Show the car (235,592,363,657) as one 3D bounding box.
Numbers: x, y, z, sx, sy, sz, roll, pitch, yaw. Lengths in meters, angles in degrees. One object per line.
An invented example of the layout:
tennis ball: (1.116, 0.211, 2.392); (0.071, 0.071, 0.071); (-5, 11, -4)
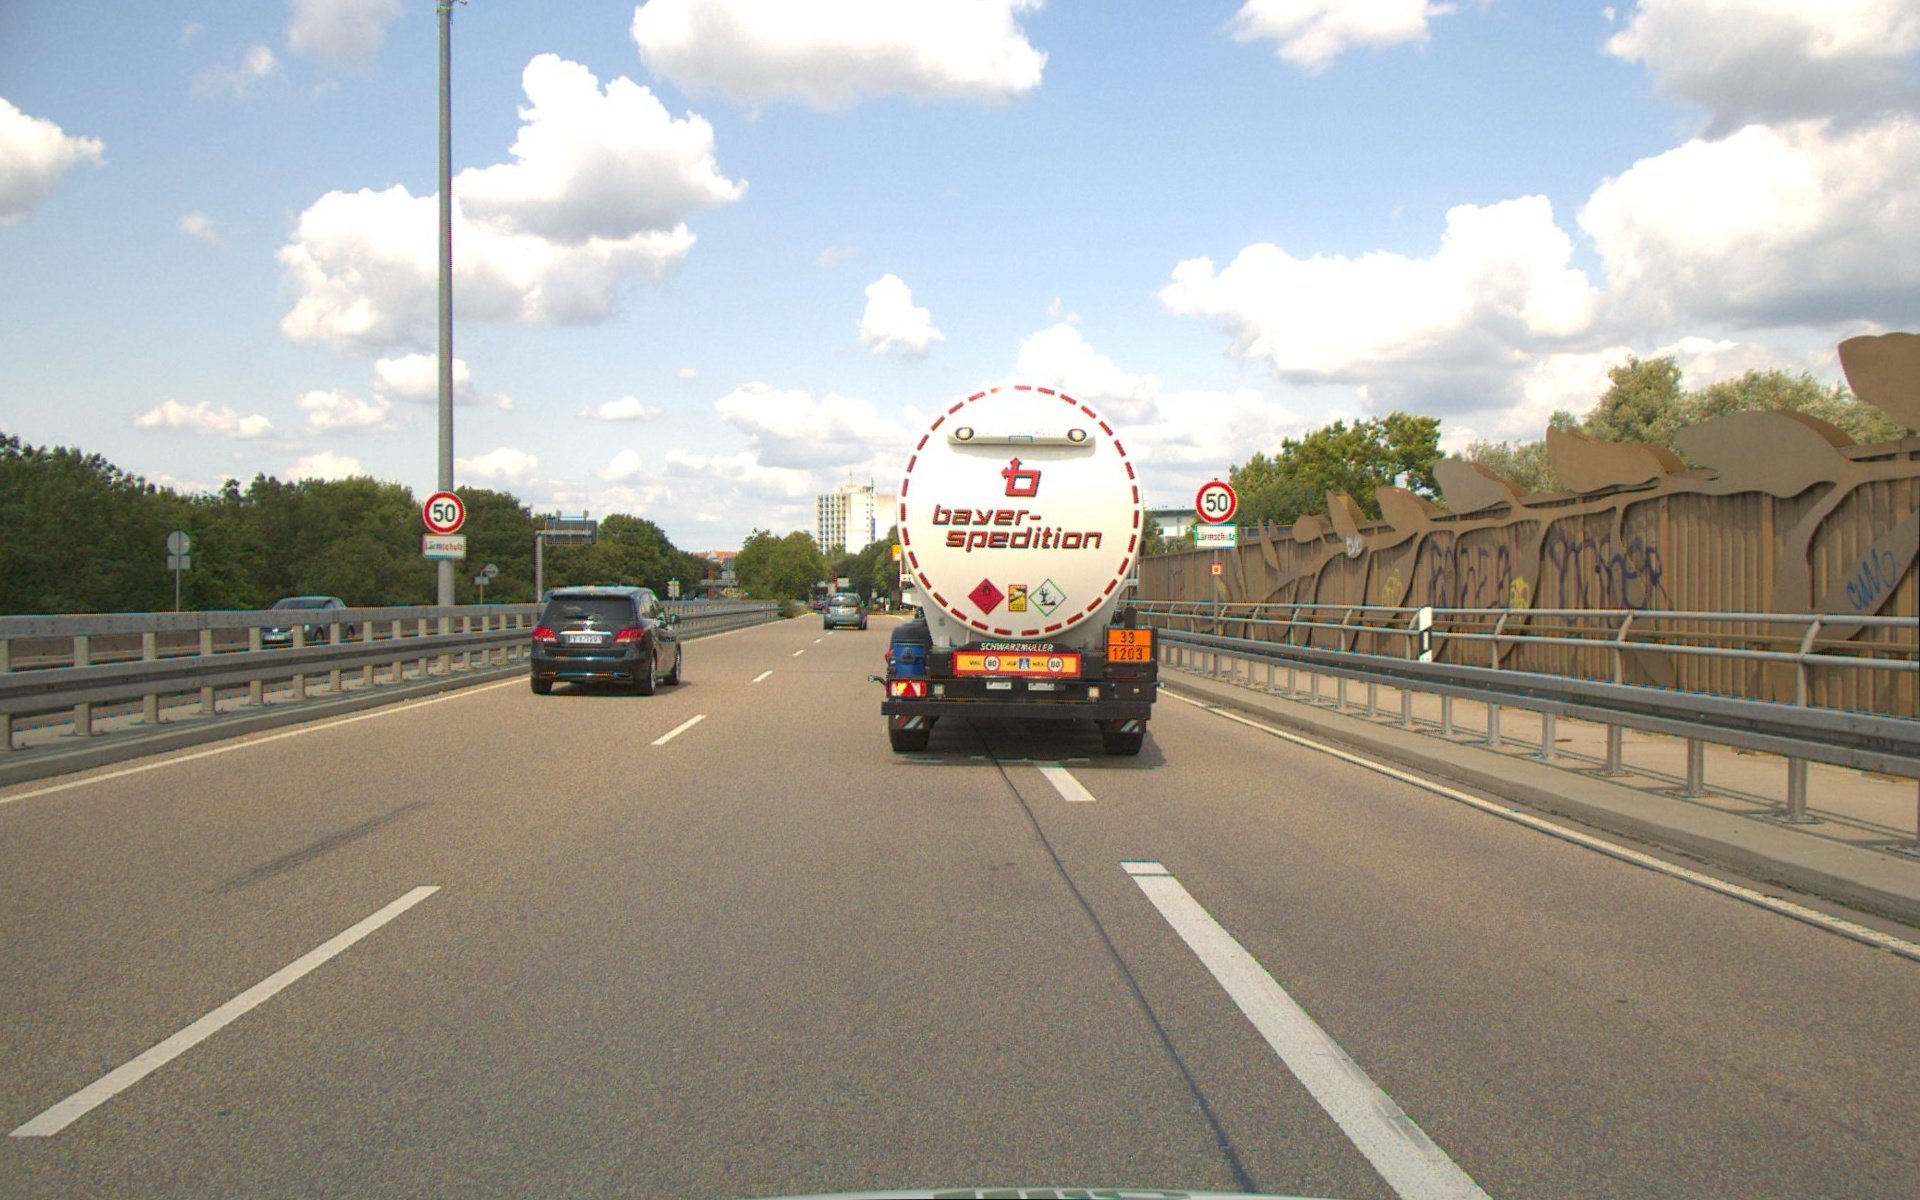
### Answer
car: (-17.661, 0.621, 44.408); (1.954, 1.601, 3.998); (1, 0, -3)

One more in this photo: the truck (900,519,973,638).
truck: (-1.132, -0.924, 73.438); (2.837, 4.892, 8.024); (1, 0, -3)

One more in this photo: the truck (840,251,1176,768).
truck: (0.577, -0.815, 18.458); (2.835, 4.445, 8.032); (1, 0, 2)

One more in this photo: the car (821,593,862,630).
car: (-5.254, 0.489, 73.446); (1.712, 1.558, 3.998); (0, 1, -3)

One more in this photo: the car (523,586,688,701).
car: (-5.290, 0.594, 25.227); (1.677, 1.554, 4.590); (1, 0, -2)

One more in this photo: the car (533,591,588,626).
car: (-19.924, 0.412, 82.567); (1.954, 1.668, 3.997); (1, 0, -4)
